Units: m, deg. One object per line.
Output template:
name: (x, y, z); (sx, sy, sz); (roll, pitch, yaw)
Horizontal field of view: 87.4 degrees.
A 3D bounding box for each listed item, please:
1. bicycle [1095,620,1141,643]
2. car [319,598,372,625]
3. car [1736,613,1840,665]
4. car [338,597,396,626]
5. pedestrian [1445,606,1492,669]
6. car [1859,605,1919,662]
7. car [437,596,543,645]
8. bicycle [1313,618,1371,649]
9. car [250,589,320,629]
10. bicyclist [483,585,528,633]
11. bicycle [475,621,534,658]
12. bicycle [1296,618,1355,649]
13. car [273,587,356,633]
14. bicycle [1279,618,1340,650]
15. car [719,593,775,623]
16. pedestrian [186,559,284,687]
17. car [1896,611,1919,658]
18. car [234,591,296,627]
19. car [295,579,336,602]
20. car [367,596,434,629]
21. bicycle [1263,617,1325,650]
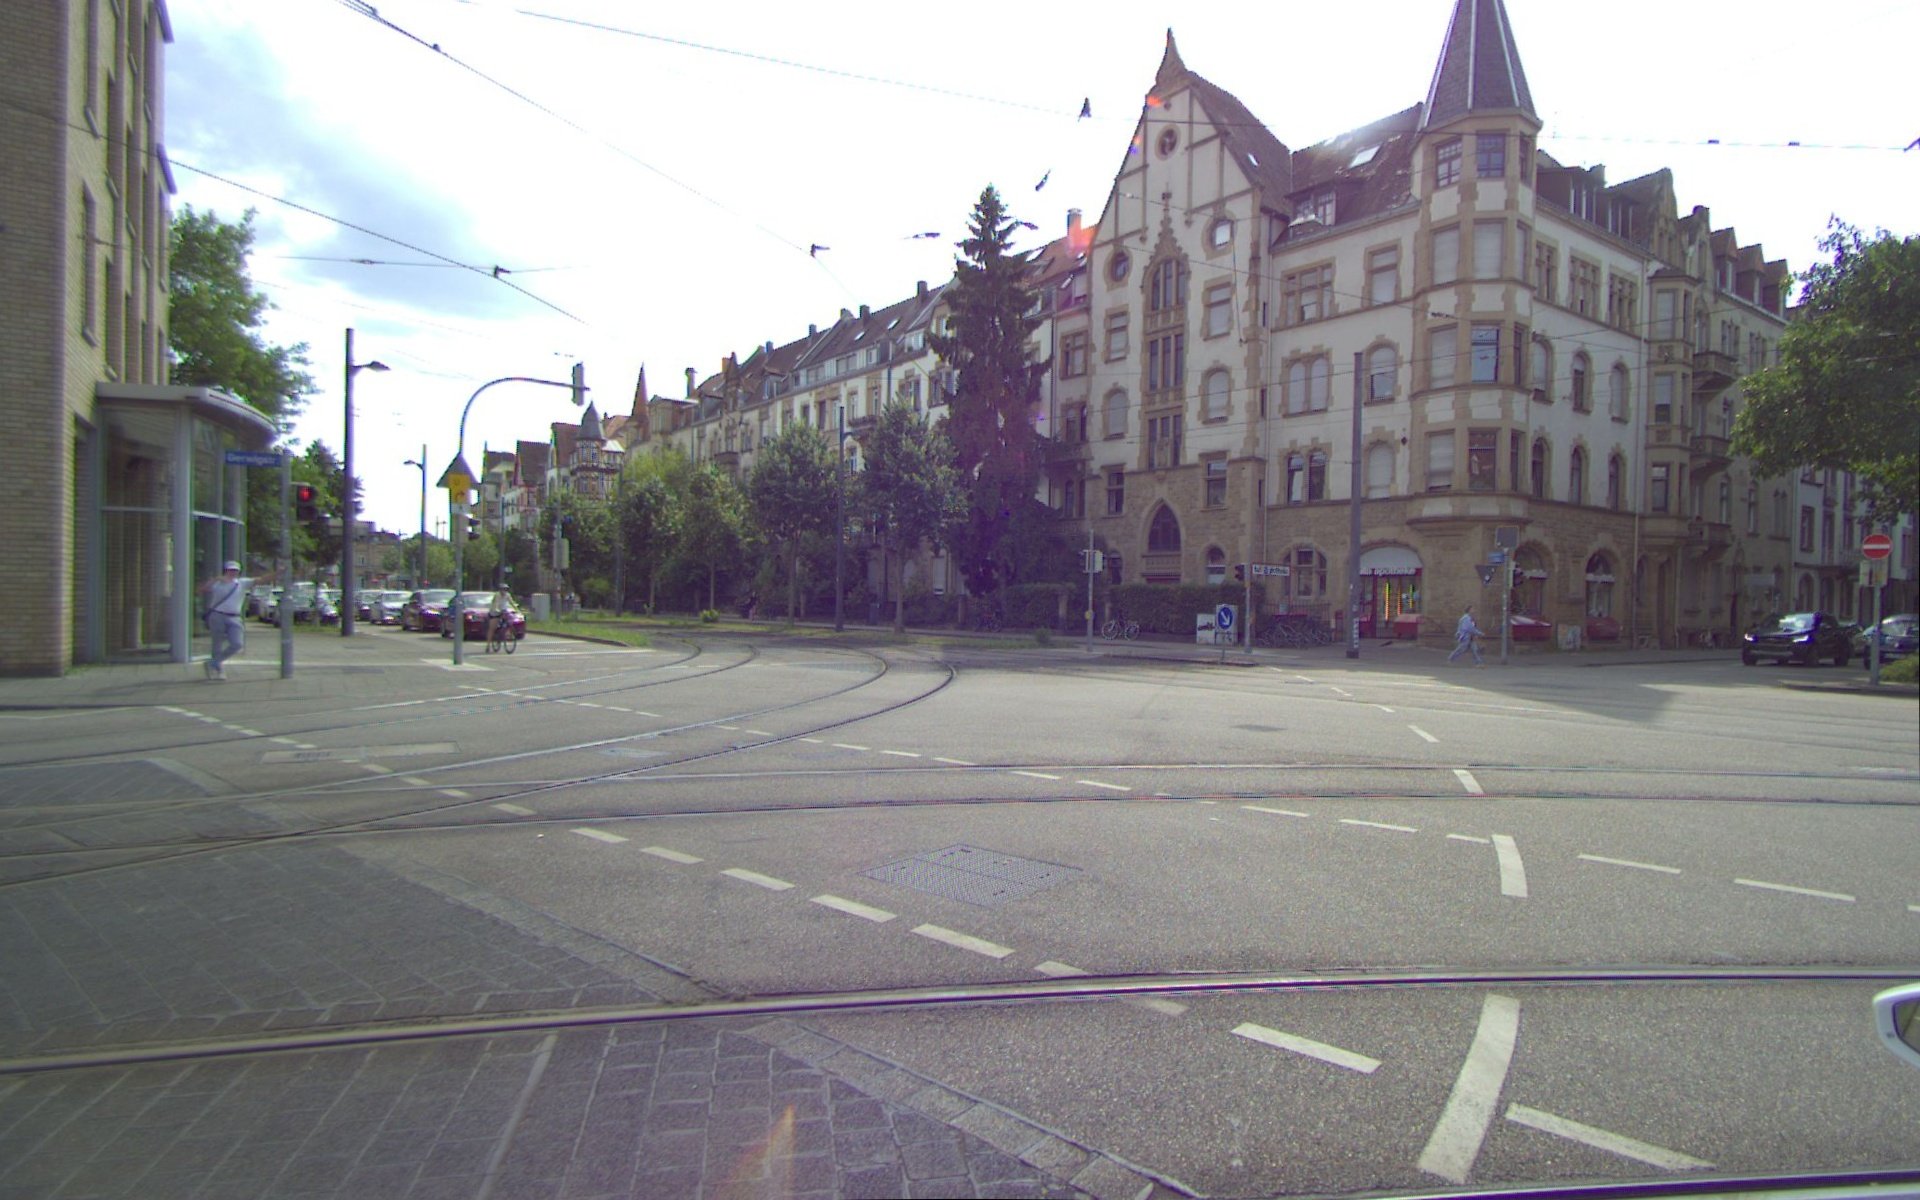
bicycle: (6.219, 1.248, 39.576); (0.467, 0.859, 1.897); (1, -1, -43)
car: (-32.124, 0.570, 52.504); (1.812, 1.305, 3.953); (1, 0, -40)
car: (27.808, 1.279, 33.691); (3.966, 1.639, 1.977); (1, -1, -39)
car: (-28.524, 0.543, 48.262); (1.812, 1.305, 3.953); (1, 0, -40)
pedestrian: (14.581, 1.062, 28.822); (1.003, 1.745, 0.776); (1, 0, 12)
car: (30.631, 1.055, 32.316); (3.966, 1.751, 1.977); (1, -1, -39)
car: (-14.667, 0.600, 31.262); (1.878, 1.394, 3.949); (1, 0, -43)
bicycle: (14.215, 1.225, 37.419); (0.773, 1.095, 1.897); (1, -1, -44)
car: (-28.576, 0.366, 42.488); (1.878, 1.594, 3.949); (1, 0, -43)
bicyclist: (-11.273, 0.208, 24.887); (0.770, 1.162, 0.887); (1, 0, -42)
bicycle: (-11.313, 0.956, 24.897); (0.713, 0.837, 2.121); (1, 0, -42)
bicycle: (13.292, 1.203, 36.583); (0.773, 1.095, 1.897); (1, -1, -44)
car: (-23.465, 0.336, 36.461); (1.878, 1.594, 3.949); (1, 0, -43)
bicycle: (12.446, 1.183, 35.819); (0.773, 1.095, 1.897); (1, -1, -44)
car: (-13.550, 0.511, 63.768); (1.810, 1.817, 3.954); (1, -1, -40)
pedestrian: (-10.758, 0.331, 14.923); (0.749, 1.819, 0.958); (1, 0, 31)
car: (34.779, 1.220, 35.509); (3.966, 1.639, 1.977); (1, -1, -39)
car: (-33.016, 0.407, 47.683); (1.877, 1.594, 3.949); (1, 0, -43)
car: (-45.973, -0.665, 71.617); (1.984, 1.573, 3.953); (1, 0, -40)
car: (-24.084, 0.524, 43.181); (1.812, 1.305, 3.953); (1, 0, -40)
bicycle: (11.587, 1.160, 34.875); (0.773, 1.095, 1.897); (1, -1, -44)
